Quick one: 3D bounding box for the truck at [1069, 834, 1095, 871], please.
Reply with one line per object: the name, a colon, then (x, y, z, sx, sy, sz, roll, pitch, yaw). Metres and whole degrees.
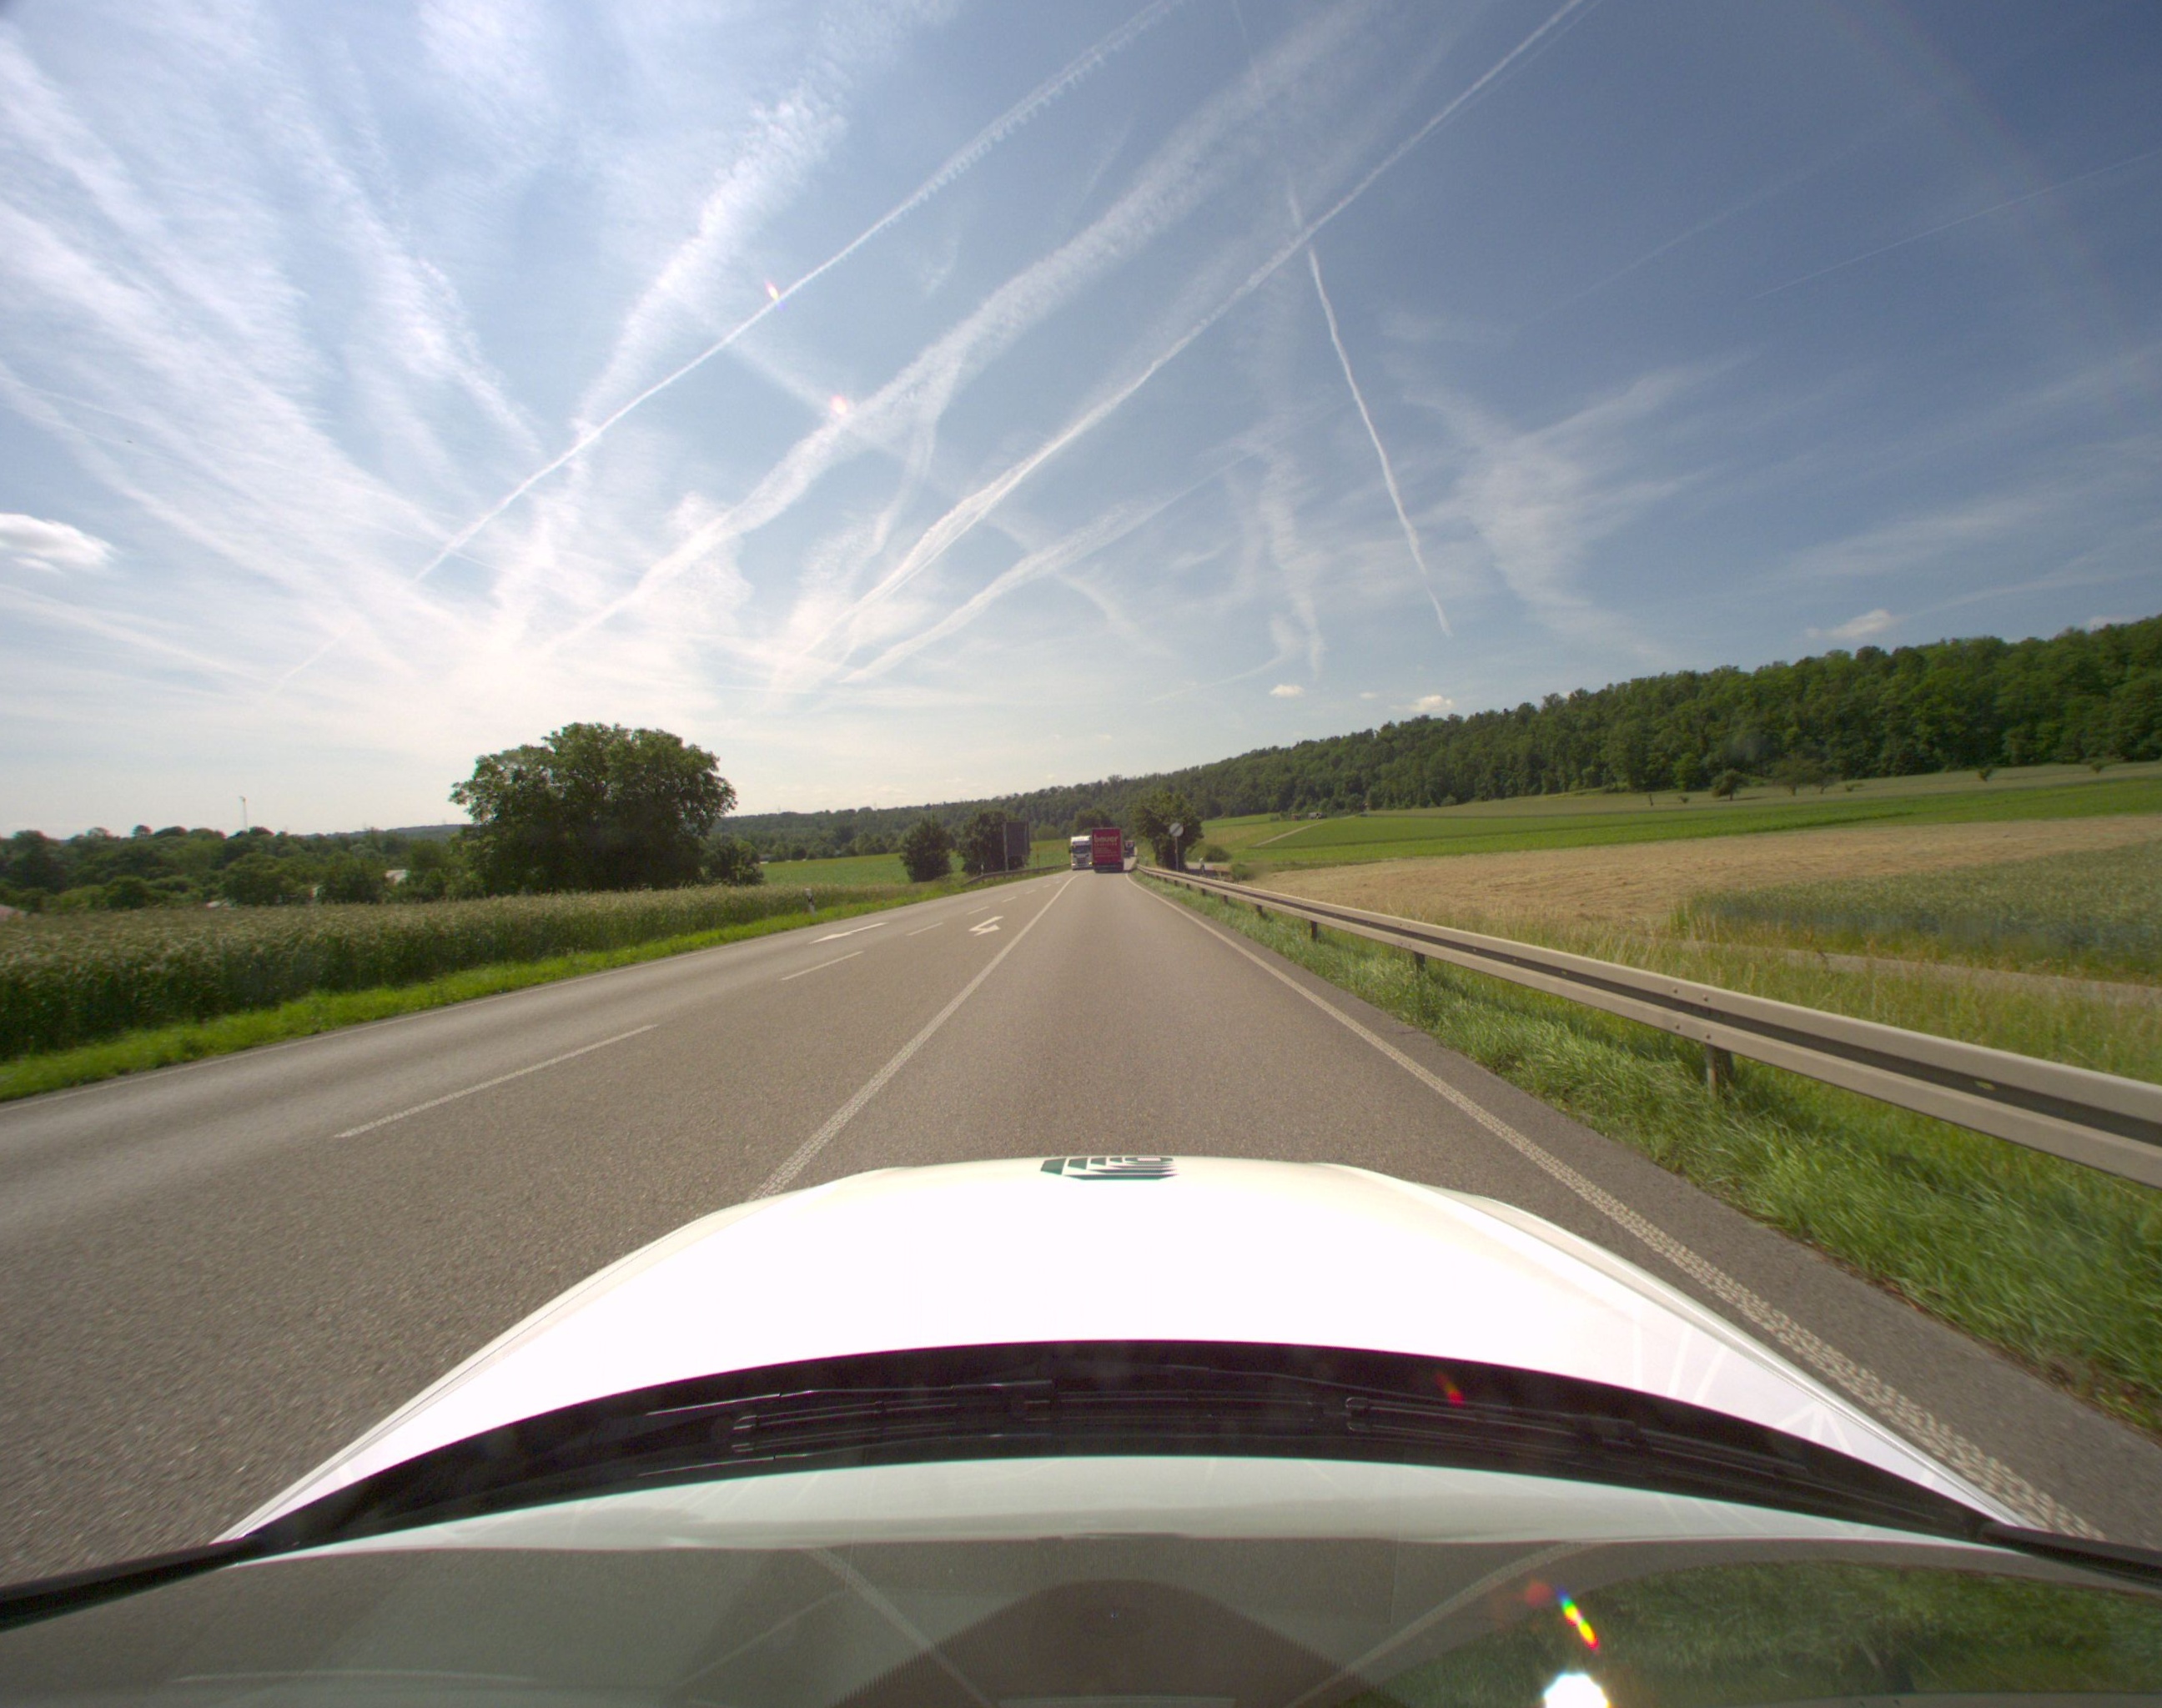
truck: (0.173, -0.148, 97.824, 2.519, 4.119, 6.027, -3, -1, 4)

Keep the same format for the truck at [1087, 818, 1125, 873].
truck: (2.477, -0.762, 77.586, 3.159, 4.625, 13.552, -2, 0, 3)

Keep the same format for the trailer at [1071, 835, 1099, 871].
trailer: (0.591, -0.082, 104.243, 2.496, 4.119, 13.911, -4, -1, 4)

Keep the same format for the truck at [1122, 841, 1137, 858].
truck: (12.949, -1.071, 216.792, 3.888, 4.369, 13.303, 0, 0, 3)

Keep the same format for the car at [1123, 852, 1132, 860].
car: (10.506, 0.515, 186.152, 1.985, 1.810, 4.002, 1, 0, 2)
